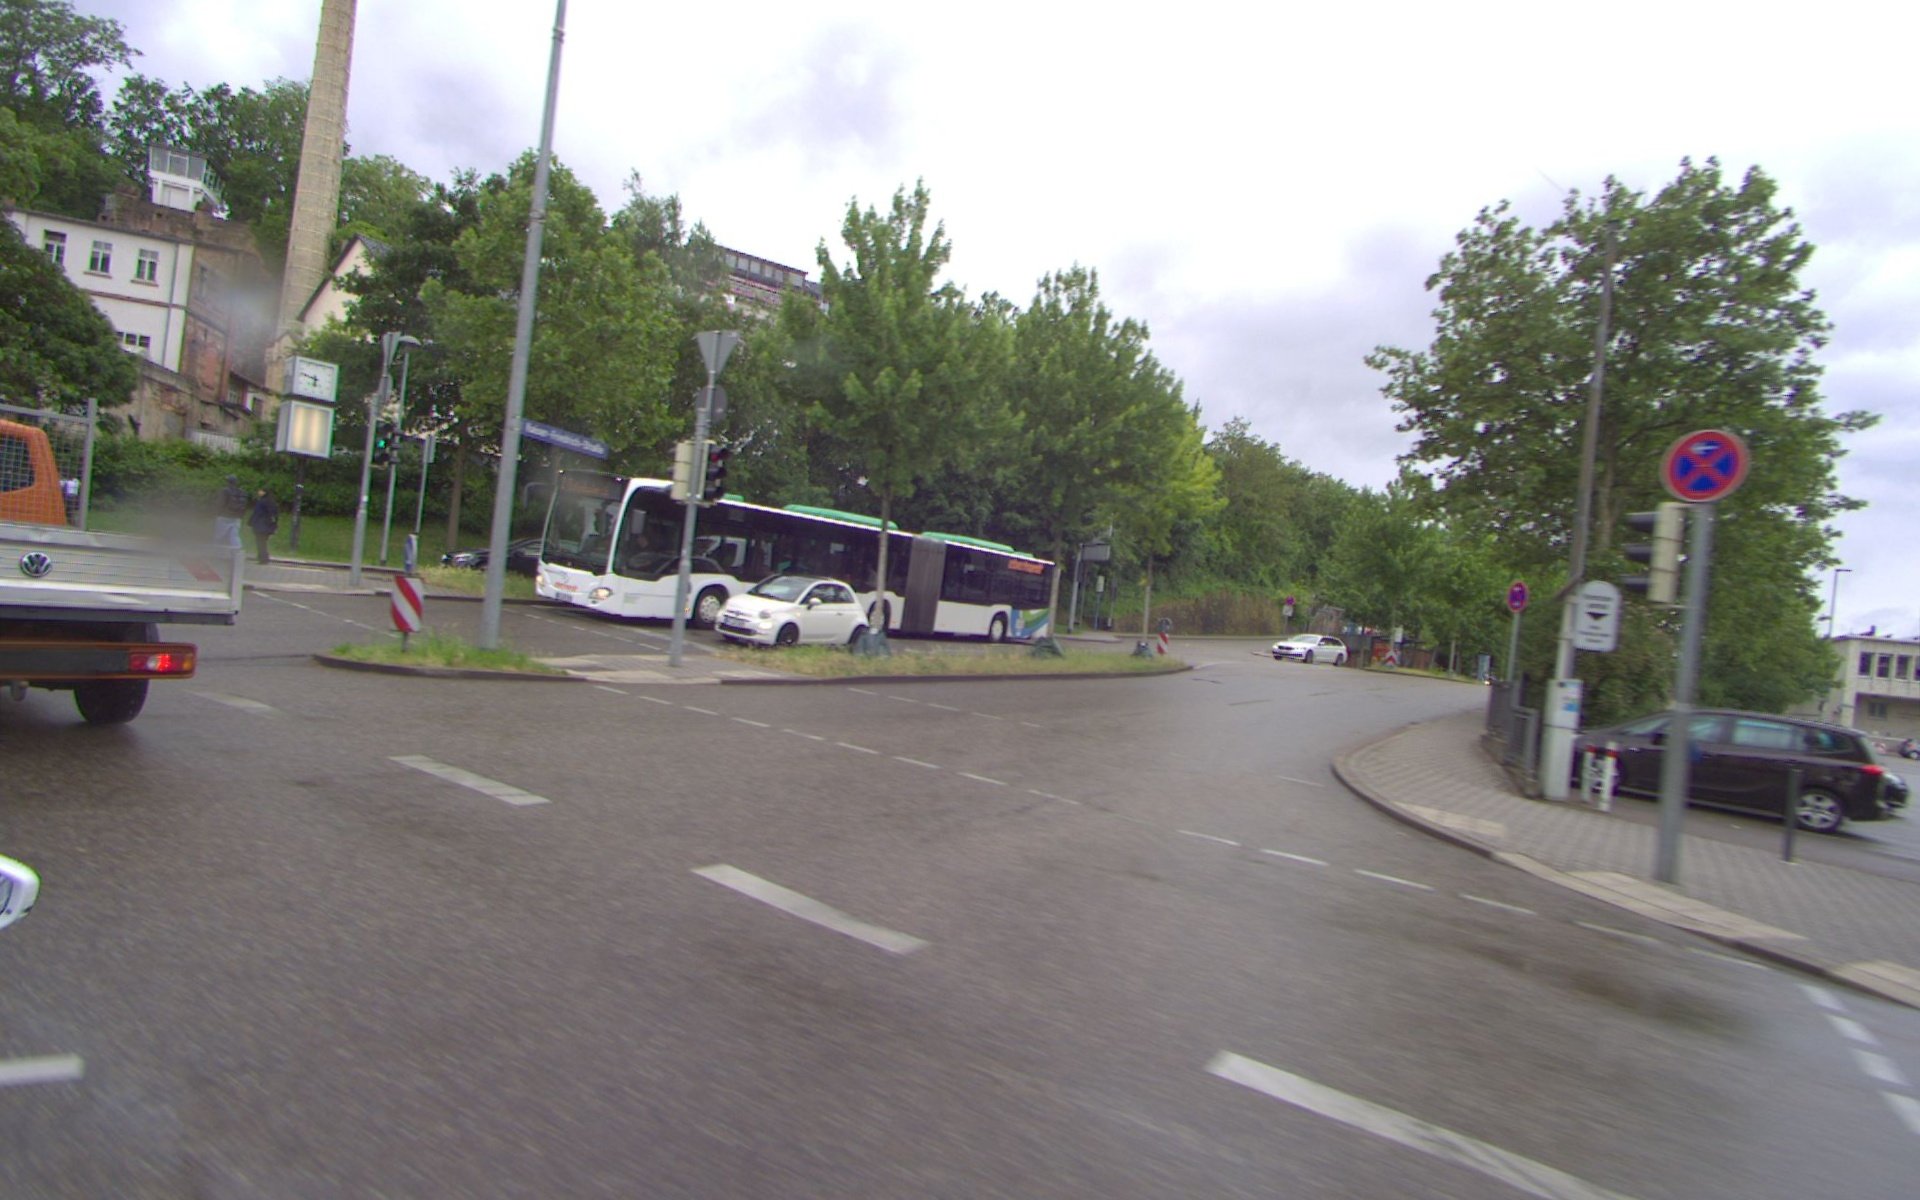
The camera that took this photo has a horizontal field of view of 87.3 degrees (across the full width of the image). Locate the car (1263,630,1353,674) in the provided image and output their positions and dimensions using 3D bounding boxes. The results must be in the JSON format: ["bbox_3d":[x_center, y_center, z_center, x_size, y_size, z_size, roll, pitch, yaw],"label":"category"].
[{"bbox_3d":[17.571,2.622,50.725,4.840,1.672,1.977,8,-1,-40],"label":"car"}]

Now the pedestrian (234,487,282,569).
[{"bbox_3d":[-15.513,-1.582,22.240,0.519,1.728,0.557,8,2,24],"label":"pedestrian"}]

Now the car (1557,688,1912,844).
[{"bbox_3d":[12.154,2.533,16.206,4.192,1.632,1.802,7,0,32],"label":"car"}]

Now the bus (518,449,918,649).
[{"bbox_3d":[-5.082,-0.878,23.787,2.661,3.255,9.637,8,0,34],"label":"bus"}]

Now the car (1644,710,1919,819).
[{"bbox_3d":[16.835,3.302,20.832,4.192,1.371,1.853,7,-1,32],"label":"car"}]

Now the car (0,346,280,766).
[{"bbox_3d":[-7.150,-0.422,6.556,5.447,2.113,2.107,6,-2,29],"label":"car"}]

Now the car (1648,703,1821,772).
[{"bbox_3d":[25.157,4.435,32.890,4.192,1.458,1.853,7,0,32],"label":"car"}]

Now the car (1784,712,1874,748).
[{"bbox_3d":[50.585,7.576,58.652,3.762,1.439,1.695,7,-1,40],"label":"car"}]

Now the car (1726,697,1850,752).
[{"bbox_3d":[36.209,5.424,44.031,3.963,1.696,1.848,7,0,43],"label":"car"}]

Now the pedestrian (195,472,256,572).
[{"bbox_3d":[-15.758,-1.661,21.603,0.776,2.040,0.586,6,2,-20],"label":"pedestrian"}]

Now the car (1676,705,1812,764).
[{"bbox_3d":[32.495,5.541,41.768,4.205,1.696,1.848,7,0,43],"label":"car"}]

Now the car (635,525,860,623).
[{"bbox_3d":[-6.413,-0.739,30.896,6.290,2.262,2.231,6,0,-39],"label":"car"}]

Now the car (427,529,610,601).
[{"bbox_3d":[-11.601,-0.908,26.550,4.062,1.391,1.777,6,0,-38],"label":"car"}]

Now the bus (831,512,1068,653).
[{"bbox_3d":[0.012,-0.349,31.274,2.645,3.218,8.540,8,0,34],"label":"bus"}]

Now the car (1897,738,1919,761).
[{"bbox_3d":[74.397,11.661,76.785,3.864,1.564,1.639,6,-2,30],"label":"car"}]

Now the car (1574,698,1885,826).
[{"bbox_3d":[13.718,2.828,18.320,4.192,1.458,1.853,7,0,32],"label":"car"}]

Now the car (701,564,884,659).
[{"bbox_3d":[-3.329,0.287,20.577,1.564,1.469,3.562,8,0,33],"label":"car"}]
